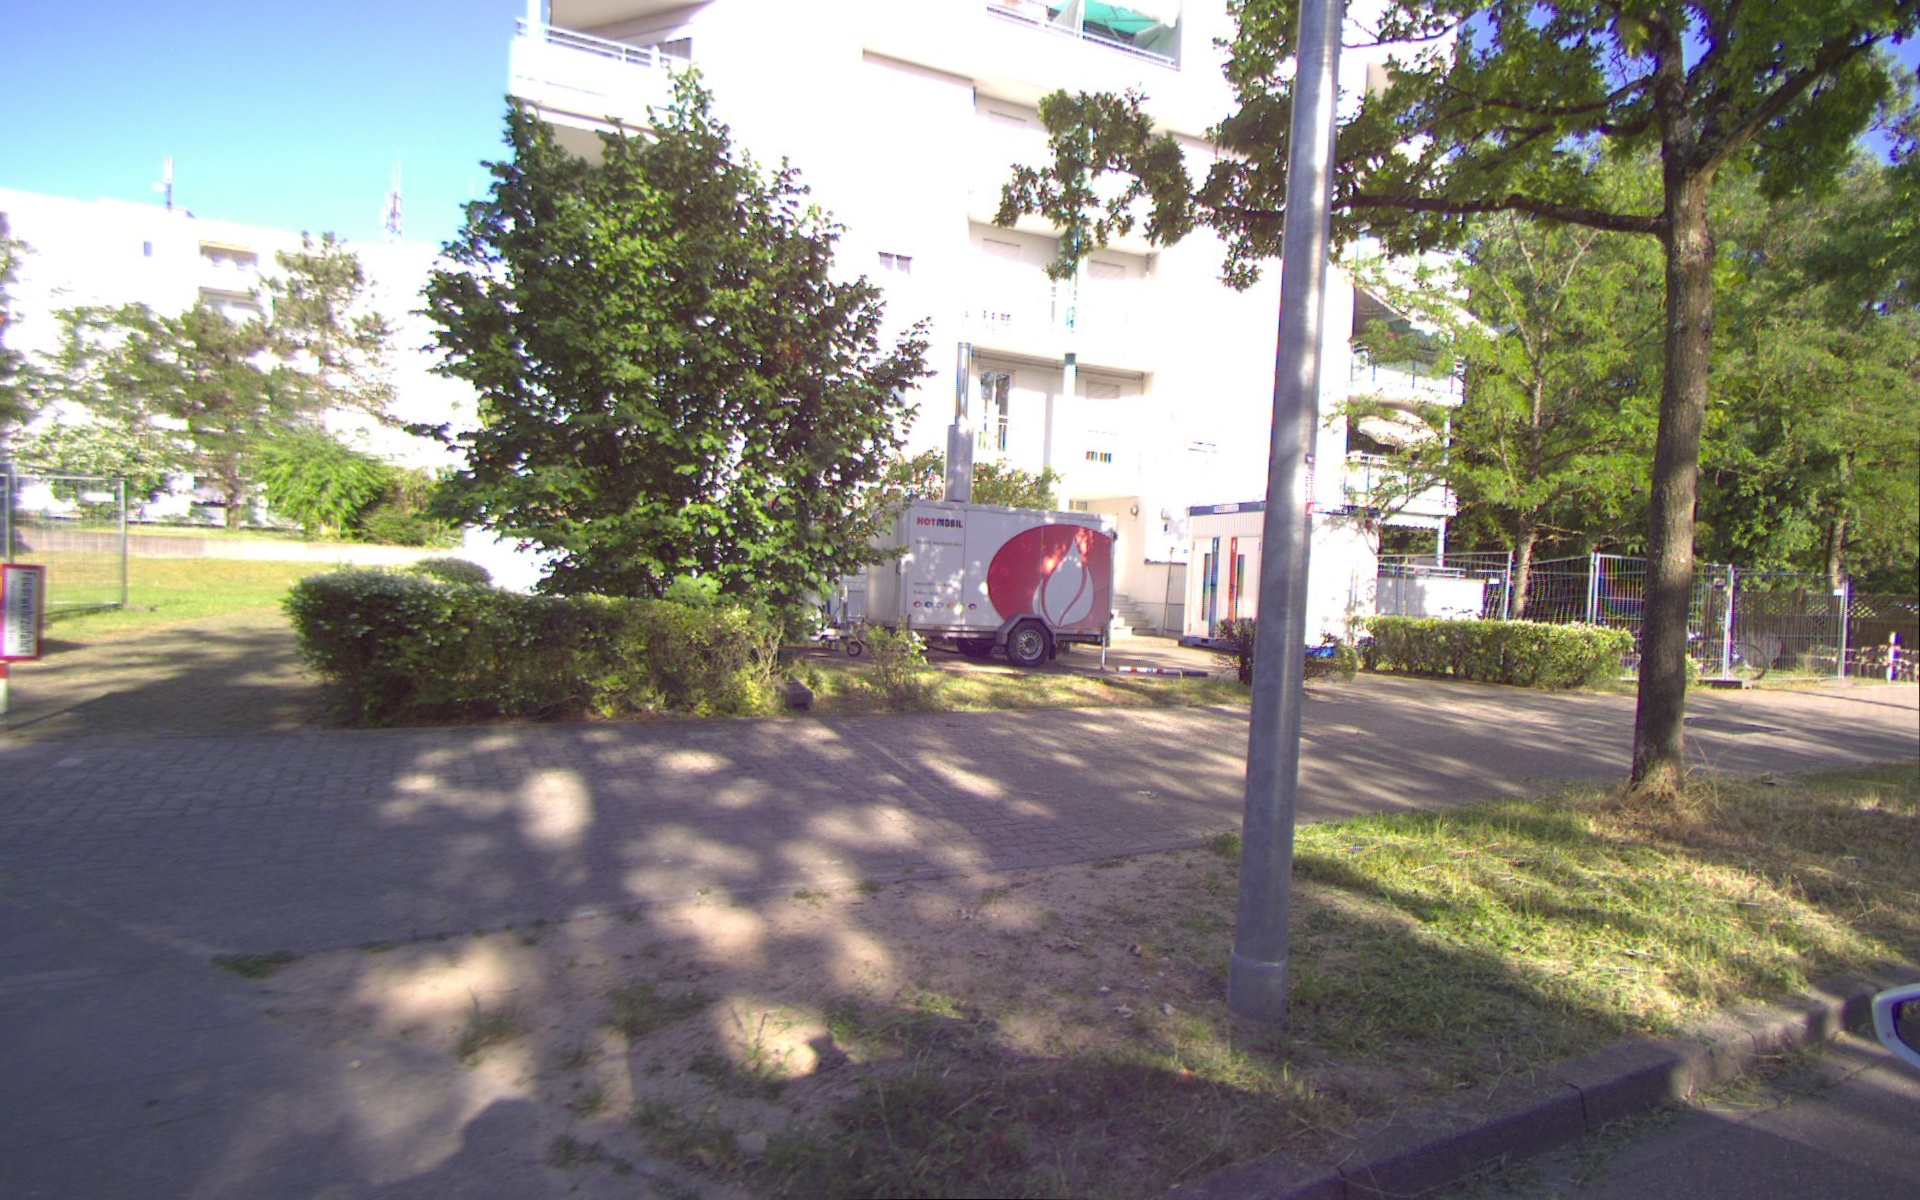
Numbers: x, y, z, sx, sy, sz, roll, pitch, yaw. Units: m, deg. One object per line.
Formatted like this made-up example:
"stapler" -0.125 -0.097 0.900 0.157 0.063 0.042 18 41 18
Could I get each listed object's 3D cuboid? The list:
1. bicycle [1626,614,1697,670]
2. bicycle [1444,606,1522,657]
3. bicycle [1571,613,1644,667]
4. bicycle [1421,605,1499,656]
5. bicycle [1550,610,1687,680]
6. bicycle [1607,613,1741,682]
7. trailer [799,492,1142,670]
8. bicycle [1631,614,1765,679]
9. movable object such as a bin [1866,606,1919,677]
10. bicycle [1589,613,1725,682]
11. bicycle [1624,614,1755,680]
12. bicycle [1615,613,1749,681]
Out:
"bicycle" 13.846 0.834 19.814 1.680 1.040 0.397 2 1 -29
"bicycle" 11.863 0.692 22.831 0.395 1.040 1.692 2 1 -21
"bicycle" 13.361 0.827 20.710 1.678 1.040 0.398 3 1 -26
"bicycle" 11.226 0.670 22.615 0.395 1.040 1.692 2 1 -21
"bicycle" 11.088 0.738 16.980 0.397 1.040 1.853 2 1 -39
"bicycle" 12.392 0.800 17.491 0.397 1.040 1.823 2 1 -39
"trailer" 0.138 -0.227 13.887 4.285 2.149 1.858 2 3 -24
"bicycle" 13.452 0.827 18.371 0.397 1.040 1.899 2 1 -39
"movable object such as a bin" 20.664 0.884 21.513 1.299 1.455 1.273 2 1 1
"bicycle" 11.968 0.789 17.296 0.397 1.040 1.840 2 1 -39
"bicycle" 13.090 0.820 18.069 0.397 1.040 1.822 2 1 -39
"bicycle" 12.755 0.812 17.808 0.397 1.040 1.843 2 1 -39
